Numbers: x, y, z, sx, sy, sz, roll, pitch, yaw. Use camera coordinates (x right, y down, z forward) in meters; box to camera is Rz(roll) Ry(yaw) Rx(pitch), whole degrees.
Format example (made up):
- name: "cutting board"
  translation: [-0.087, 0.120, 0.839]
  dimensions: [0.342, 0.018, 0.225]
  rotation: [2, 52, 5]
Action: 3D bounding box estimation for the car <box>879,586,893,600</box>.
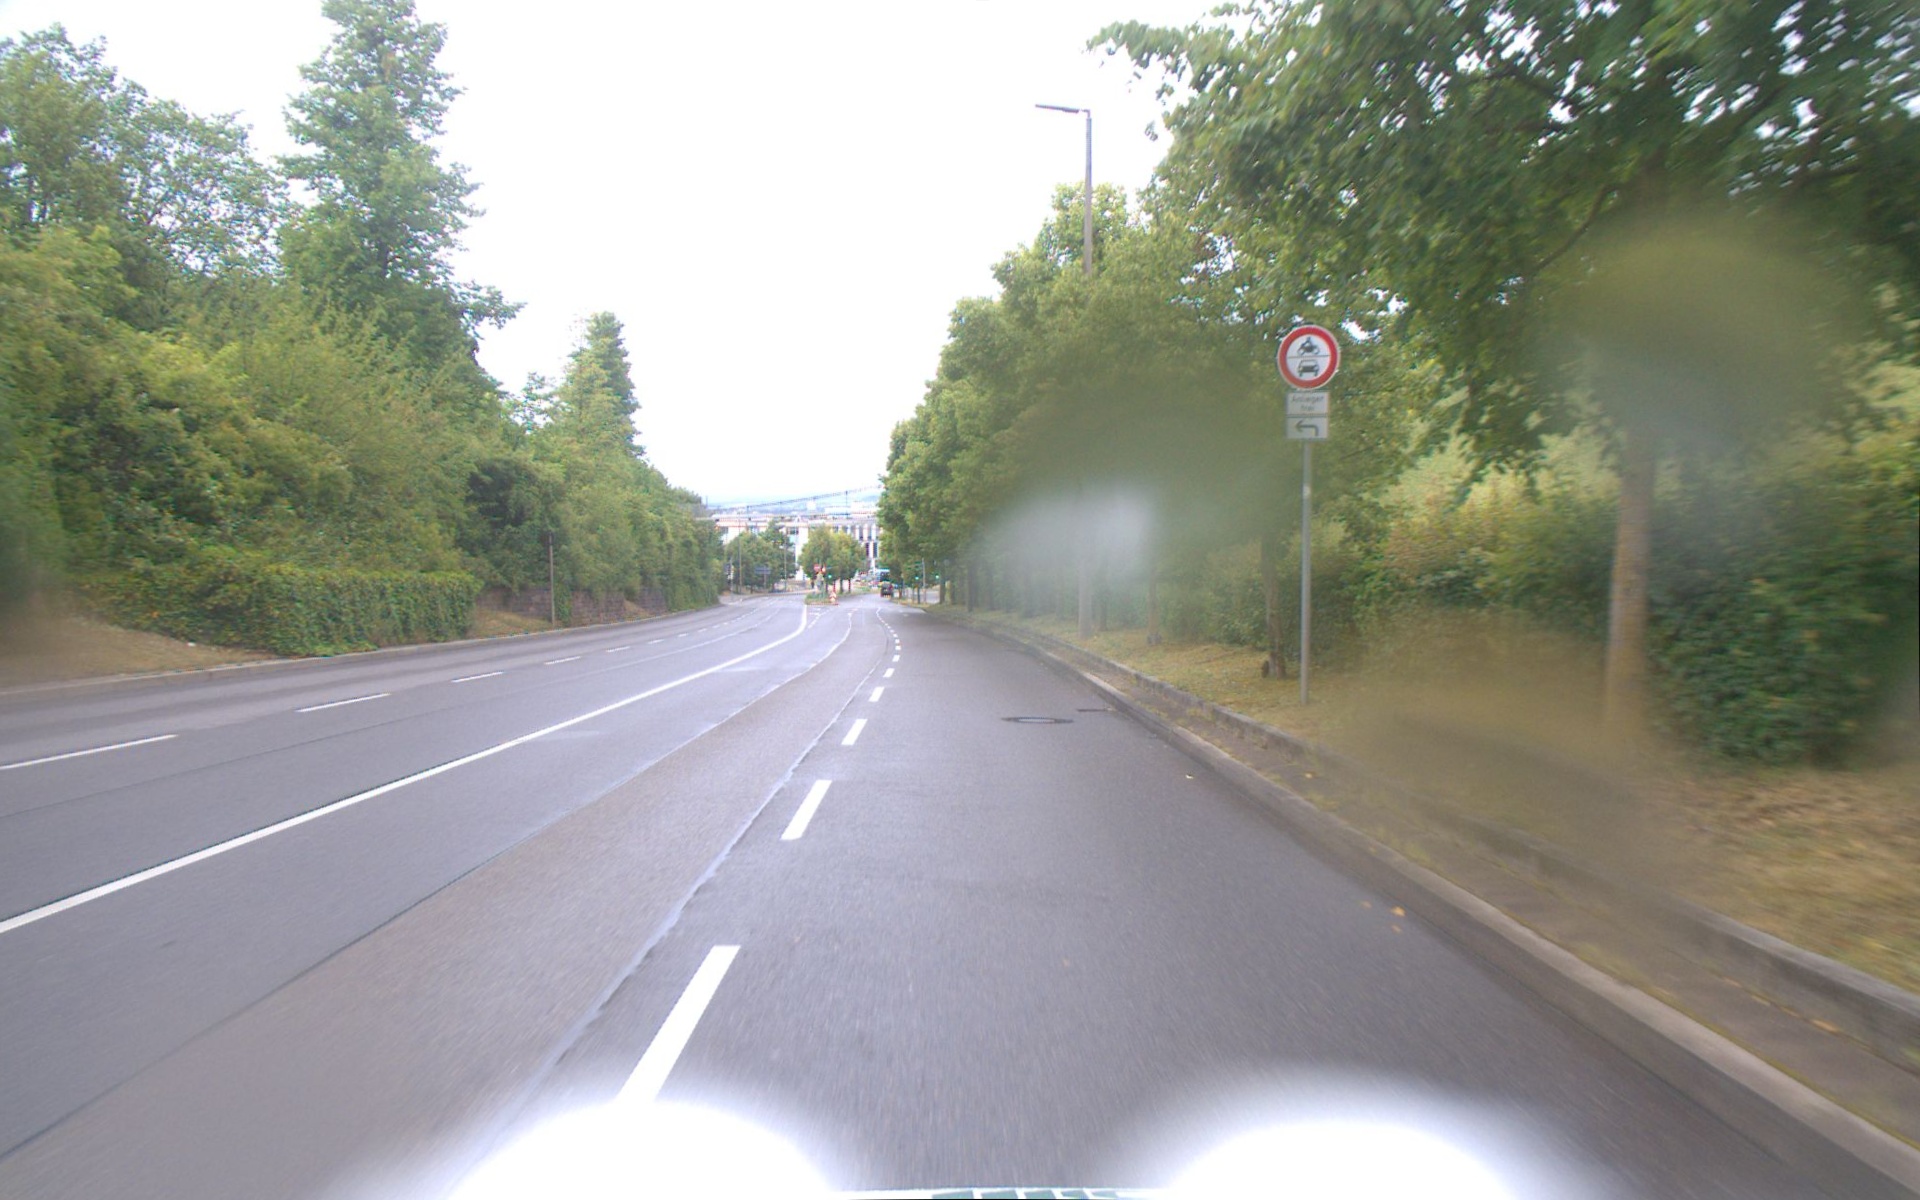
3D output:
- name: "car"
  translation: [-10.206, -0.969, 228.437]
  dimensions: [1.811, 1.731, 3.792]
  rotation: [2, -1, 0]
